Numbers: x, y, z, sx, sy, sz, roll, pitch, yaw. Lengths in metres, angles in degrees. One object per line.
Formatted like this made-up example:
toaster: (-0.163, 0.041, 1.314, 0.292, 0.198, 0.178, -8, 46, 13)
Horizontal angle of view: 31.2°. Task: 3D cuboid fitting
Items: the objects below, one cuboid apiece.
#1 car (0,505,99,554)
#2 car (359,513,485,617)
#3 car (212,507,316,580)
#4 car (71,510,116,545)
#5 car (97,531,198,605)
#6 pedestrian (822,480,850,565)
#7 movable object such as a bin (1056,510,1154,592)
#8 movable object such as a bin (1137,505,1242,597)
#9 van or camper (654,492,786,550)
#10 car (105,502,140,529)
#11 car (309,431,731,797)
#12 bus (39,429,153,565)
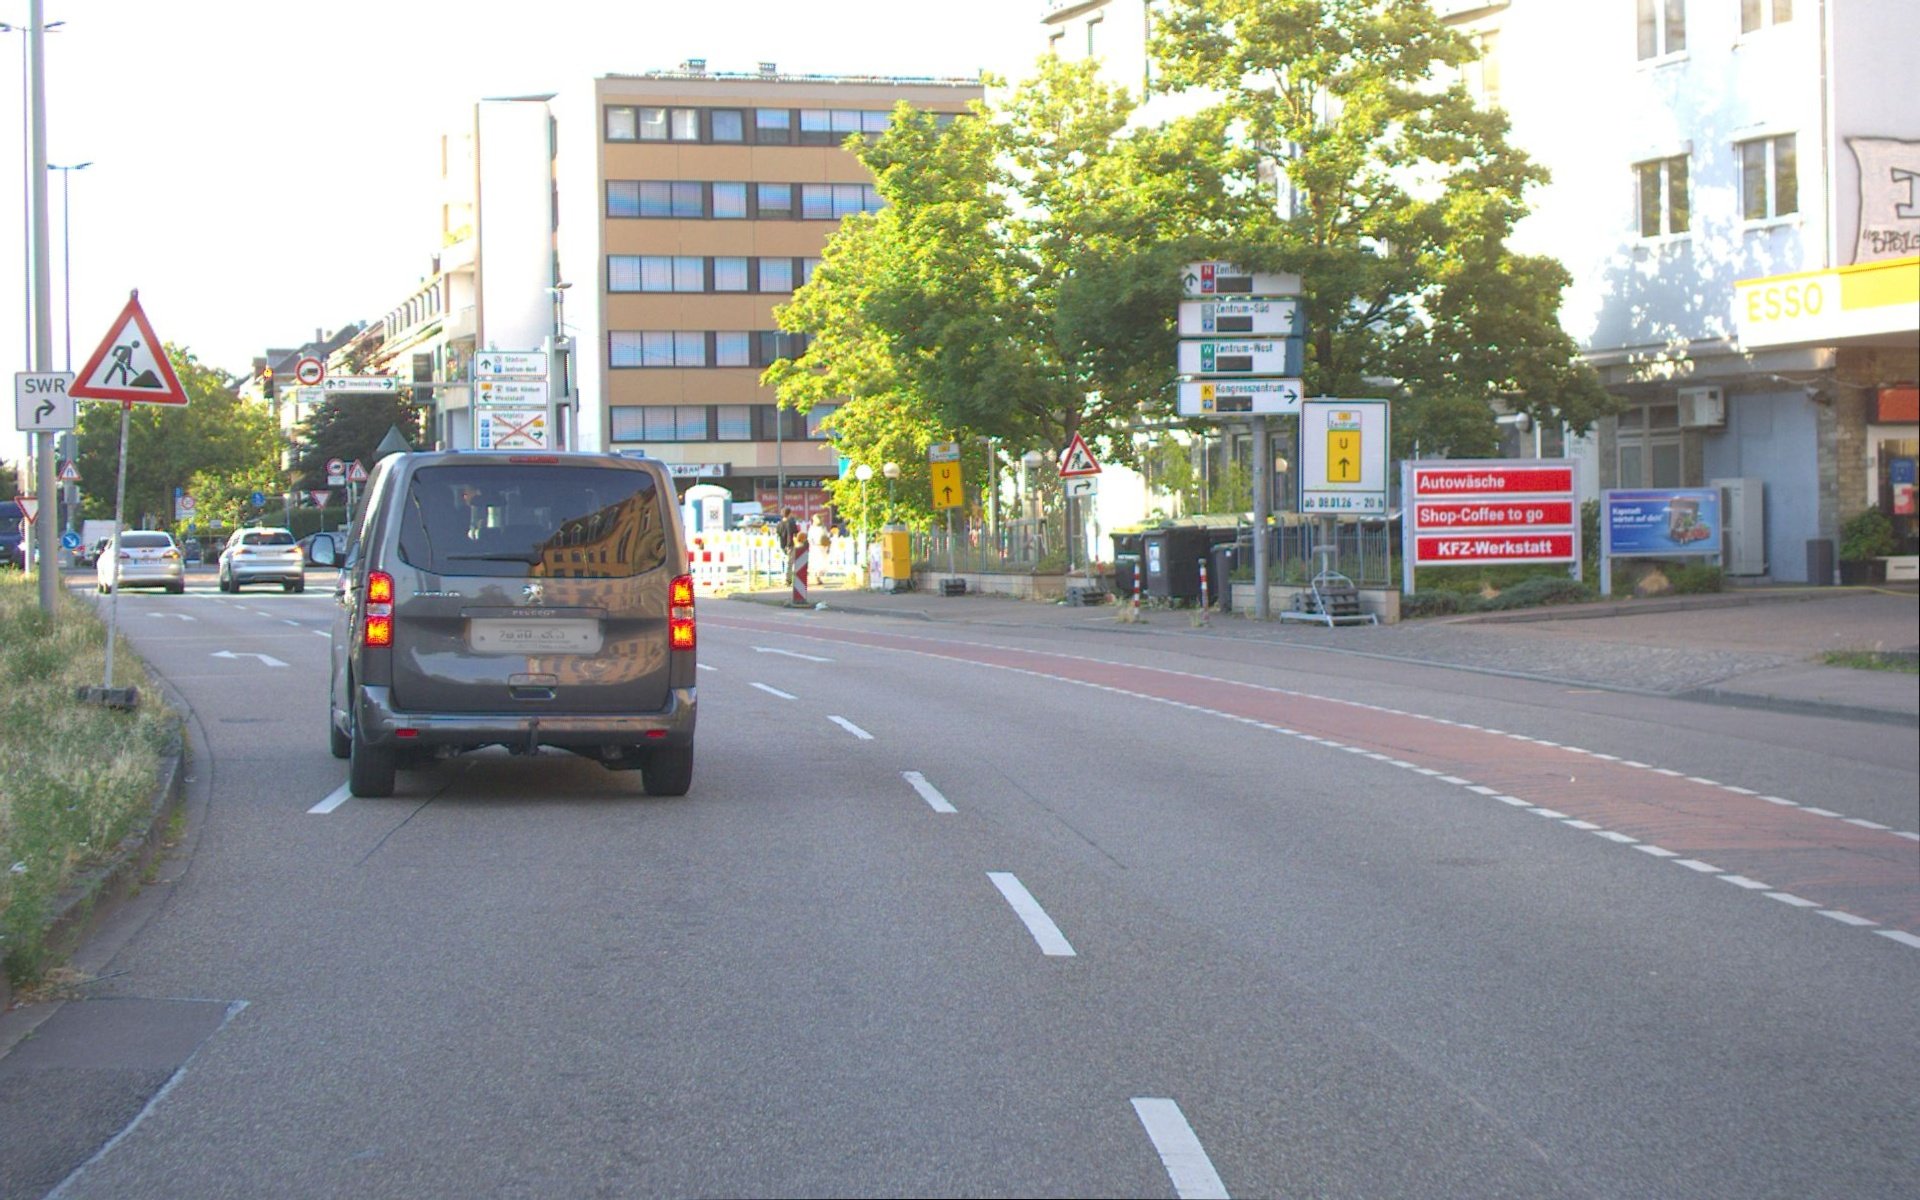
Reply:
car: (-31.356, -2.400, 116.433, 3.986, 1.589, 2.001, -1, 2, -22)
car: (-8.414, -0.581, 54.008, 1.845, 1.539, 3.632, -1, 2, -8)
car: (-16.672, -1.372, 82.215, 1.993, 1.651, 4.300, -1, 2, -17)
car: (-43.660, -3.650, 173.252, 1.848, 1.702, 3.726, -1, 2, -19)
car: (-19.153, -0.782, 80.924, 1.993, 1.651, 4.300, -1, 2, -17)
pedestrian: (-2.947, -1.852, 81.678, 0.490, 2.006, 0.664, -1, 2, -16)
movable object such as a bin: (2.491, -0.858, 59.432, 1.462, 1.381, 1.547, -1, 2, -6)
movable object such as a bin: (3.740, -0.816, 56.180, 1.462, 1.449, 1.547, -1, 2, -6)
van or camper: (-8.810, -2.911, 126.008, 4.563, 2.006, 2.001, -1, 2, -13)
car: (-55.149, -5.548, 226.408, 1.848, 1.702, 3.726, -1, 2, -19)
car: (-2.690, 0.021, 20.098, 1.993, 1.894, 4.301, 1, 2, -13)
bus: (-30.707, -3.608, 121.895, 3.289, 4.601, 10.003, 0, 1, -18)
